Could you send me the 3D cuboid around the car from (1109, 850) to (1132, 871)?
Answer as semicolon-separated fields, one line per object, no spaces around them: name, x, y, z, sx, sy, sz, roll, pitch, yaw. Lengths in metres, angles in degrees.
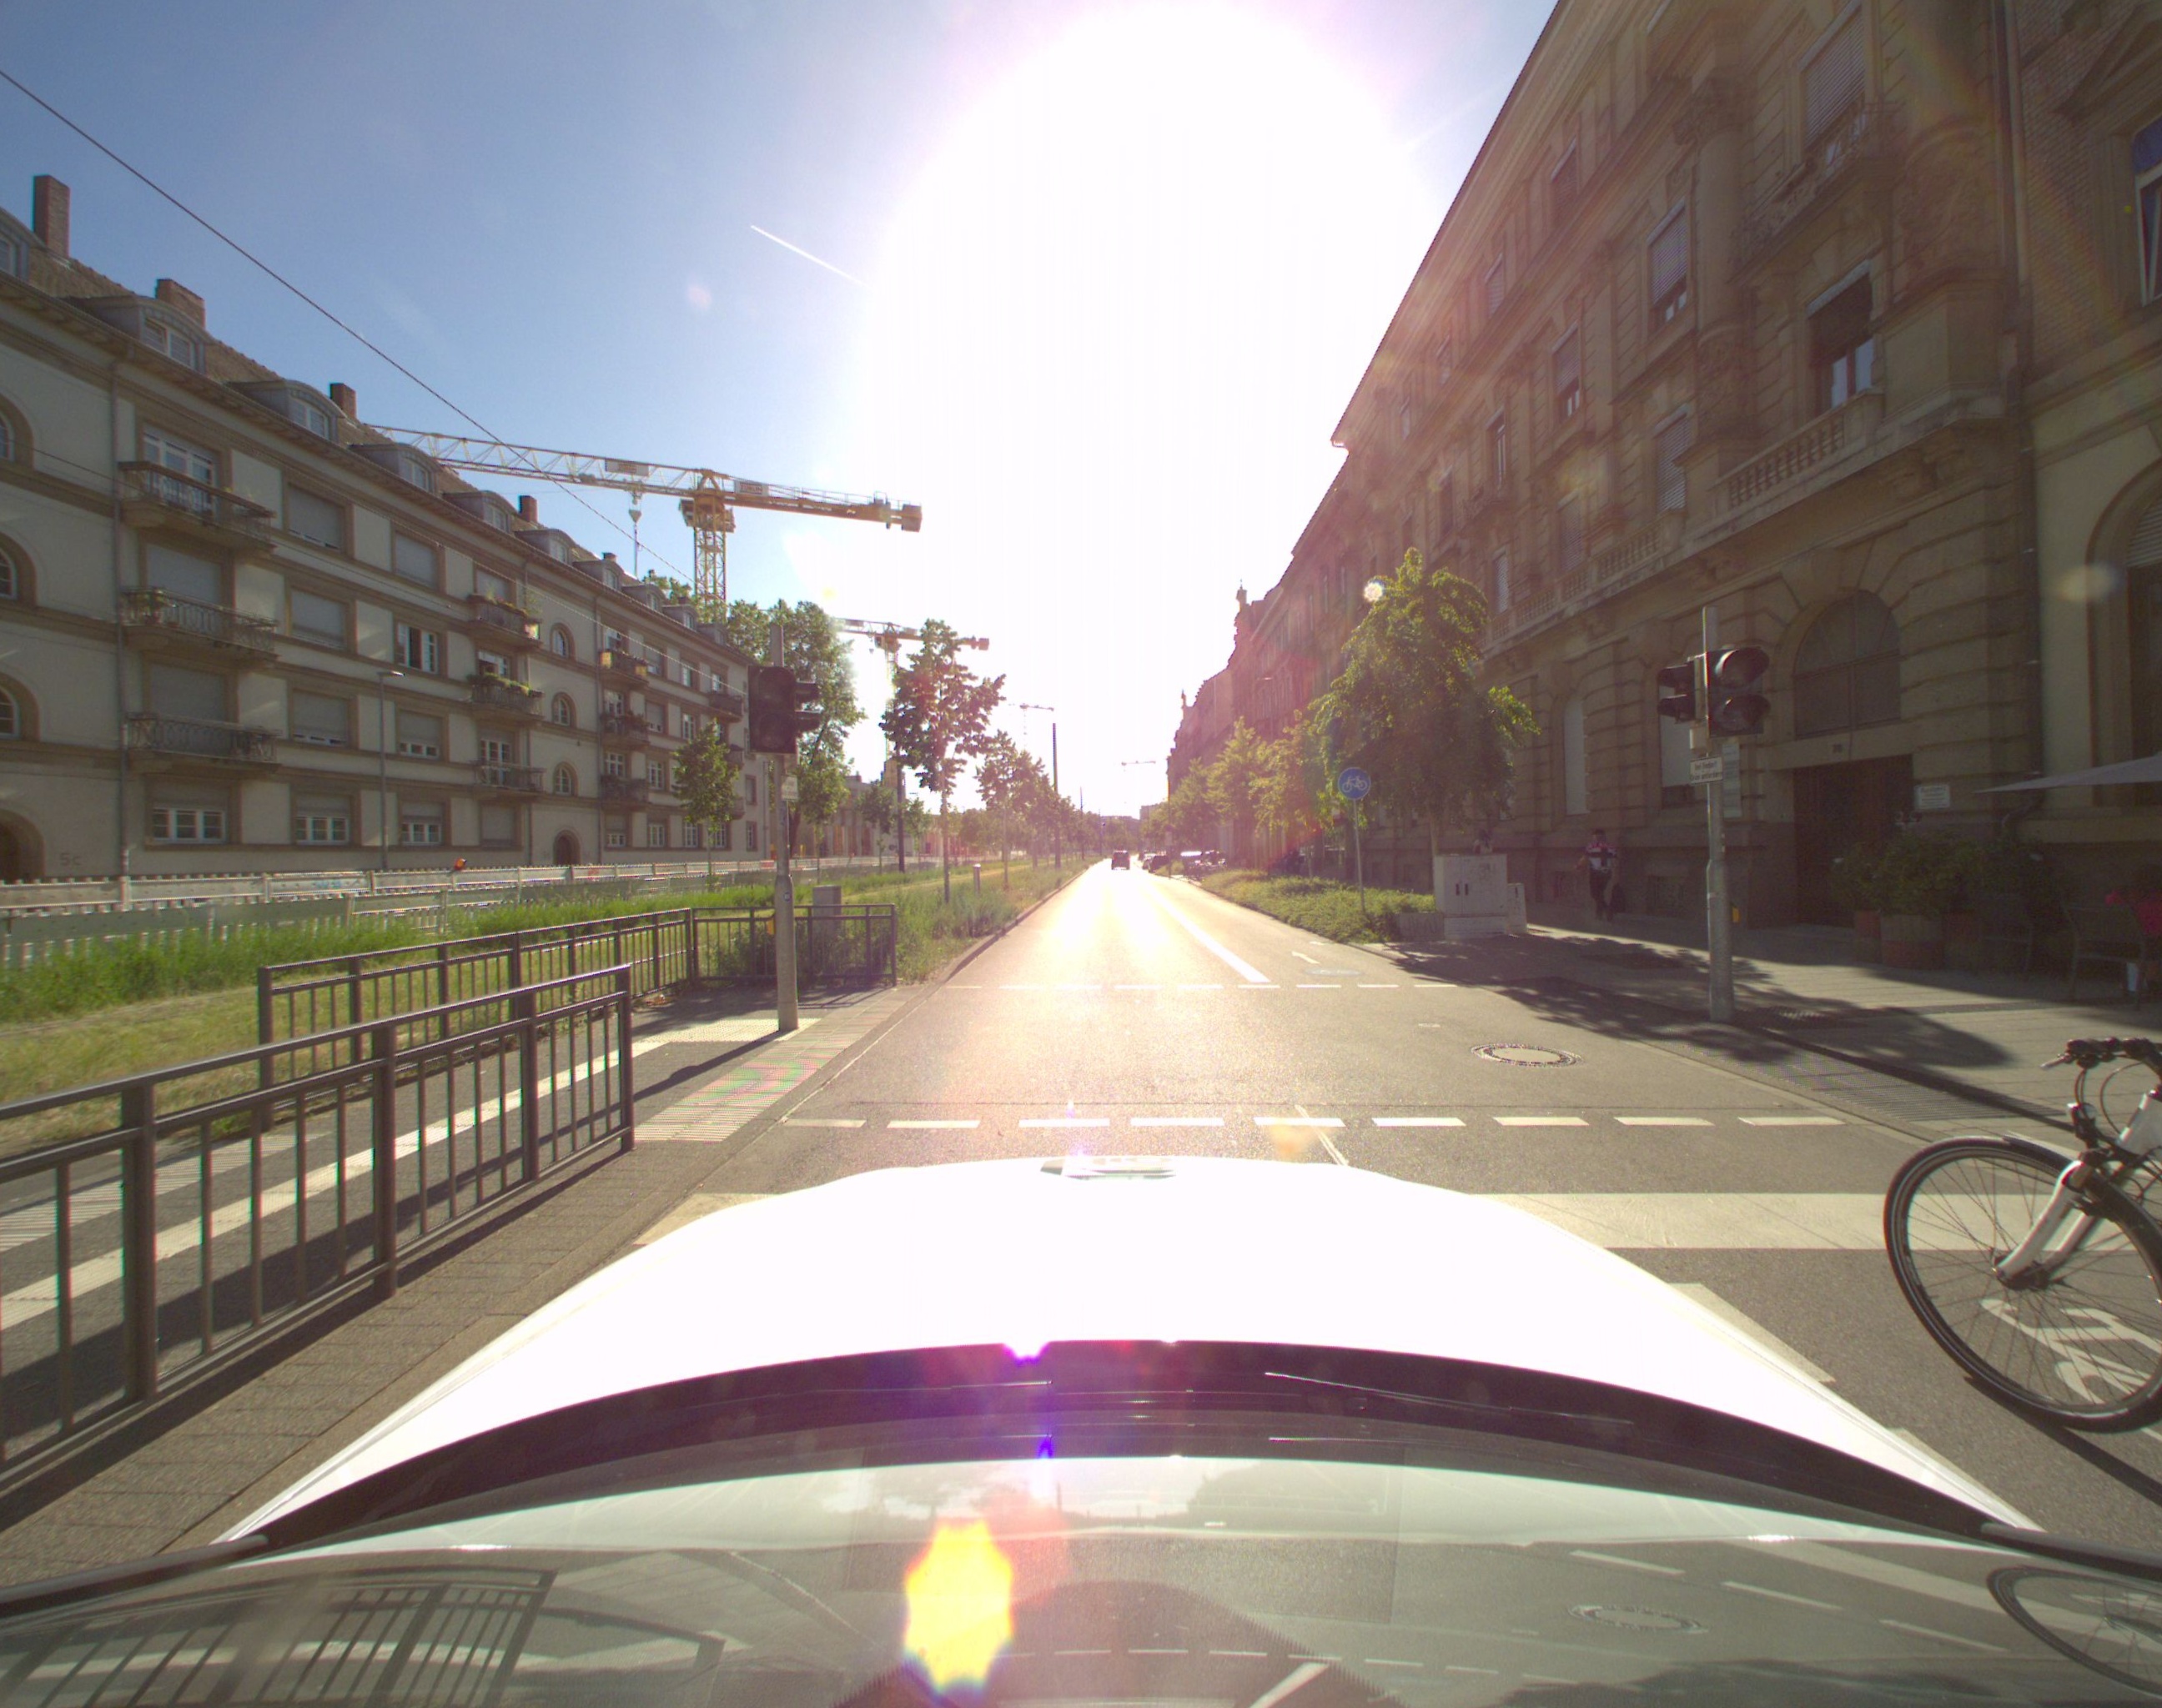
car;3.896;0.662;80.991;1.987;2.014;3.999;0;-1;0

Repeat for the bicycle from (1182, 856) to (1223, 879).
bicycle;6.578;0.735;44.024;2.040;1.107;0.610;-4;0;-4

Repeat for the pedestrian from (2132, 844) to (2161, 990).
pedestrian;9.866;0.543;6.900;0.722;1.282;0.888;-2;-1;1

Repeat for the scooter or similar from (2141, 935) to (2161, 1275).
scooter or similar;4.049;0.861;2.285;0.644;1.158;1.149;0;0;-4

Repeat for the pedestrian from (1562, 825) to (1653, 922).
pedestrian;9.779;0.348;15.172;0.964;1.692;1.116;-3;0;8

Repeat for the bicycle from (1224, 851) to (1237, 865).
bicycle;12.771;0.331;69.694;0.745;1.201;1.802;-3;-1;2

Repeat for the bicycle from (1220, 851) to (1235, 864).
bicycle;13.062;0.320;72.755;0.873;1.105;2.181;-4;0;-1

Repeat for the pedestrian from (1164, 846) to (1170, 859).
pedestrian;14.463;-0.246;136.938;0.814;2.014;1.046;0;-3;2

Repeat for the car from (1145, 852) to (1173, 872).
car;6.463;0.665;67.578;1.760;1.477;4.447;-4;-1;-1

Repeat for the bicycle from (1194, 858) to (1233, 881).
bicycle;6.669;0.778;41.082;1.811;1.056;0.571;-3;-1;-4

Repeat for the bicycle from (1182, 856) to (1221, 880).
bicycle;6.587;0.741;44.432;1.970;1.124;0.481;-5;1;-4

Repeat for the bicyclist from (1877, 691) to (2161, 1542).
bicyclist;2.663;0.560;1.796;0.722;1.817;1.088;0;0;-7

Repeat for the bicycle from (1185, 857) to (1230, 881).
bicycle;6.617;0.785;42.593;2.287;1.102;0.484;-3;0;-13

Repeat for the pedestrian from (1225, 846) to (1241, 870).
pedestrian;10.620;0.283;56.941;0.947;1.566;1.080;-2;1;1

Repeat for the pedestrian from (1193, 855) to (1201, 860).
pedestrian;14.335;0.470;100.705;0.770;0.553;2.008;-2;1;2

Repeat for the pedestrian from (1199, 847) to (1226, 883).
pedestrian;6.663;0.562;41.255;0.838;1.735;0.908;-5;0;39

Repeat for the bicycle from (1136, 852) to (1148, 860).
bicycle;10.267;0.288;137.614;1.875;1.233;0.499;-4;-1;-4

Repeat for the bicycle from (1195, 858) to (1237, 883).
bicycle;6.573;0.782;39.610;1.887;1.108;0.517;-3;-1;-4

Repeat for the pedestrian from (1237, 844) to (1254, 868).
pedestrian;11.494;0.148;56.885;0.967;1.639;0.993;-3;1;2

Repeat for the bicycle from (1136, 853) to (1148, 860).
bicycle;10.462;0.362;139.144;1.821;1.078;0.664;-4;0;-4

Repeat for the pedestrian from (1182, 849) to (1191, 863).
pedestrian;12.994;0.225;99.953;0.992;1.731;0.866;0;-1;1

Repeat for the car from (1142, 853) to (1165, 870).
car;7.064;0.747;80.279;1.944;1.495;5.108;-3;0;2

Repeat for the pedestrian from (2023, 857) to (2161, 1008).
pedestrian;8.933;0.631;6.958;0.715;1.183;0.881;-2;-1;1

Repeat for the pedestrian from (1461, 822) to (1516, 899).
pedestrian;10.578;0.167;21.180;0.885;1.920;1.100;-3;0;7

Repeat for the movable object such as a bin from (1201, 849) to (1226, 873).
movable object such as a bin;8.923;0.472;54.805;1.368;1.495;1.750;-4;-1;3

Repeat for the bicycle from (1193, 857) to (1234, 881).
bicycle;6.724;0.747;41.425;1.971;1.108;0.435;-3;-1;-1

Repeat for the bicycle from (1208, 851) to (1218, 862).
bicycle;13.547;0.205;83.887;0.718;1.090;2.200;-3;0;2

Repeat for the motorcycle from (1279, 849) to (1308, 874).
motorcycle;11.521;0.409;44.253;0.862;1.266;2.983;0;-1;2

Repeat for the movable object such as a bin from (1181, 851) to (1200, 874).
movable object such as a bin;7.327;0.539;54.670;1.264;1.463;1.647;0;2;7

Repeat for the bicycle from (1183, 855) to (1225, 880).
bicycle;6.488;0.711;42.941;2.148;1.154;0.428;-5;0;-12

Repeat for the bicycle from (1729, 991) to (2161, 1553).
bicycle;2.661;0.988;1.834;0.722;1.006;1.948;0;0;-6
